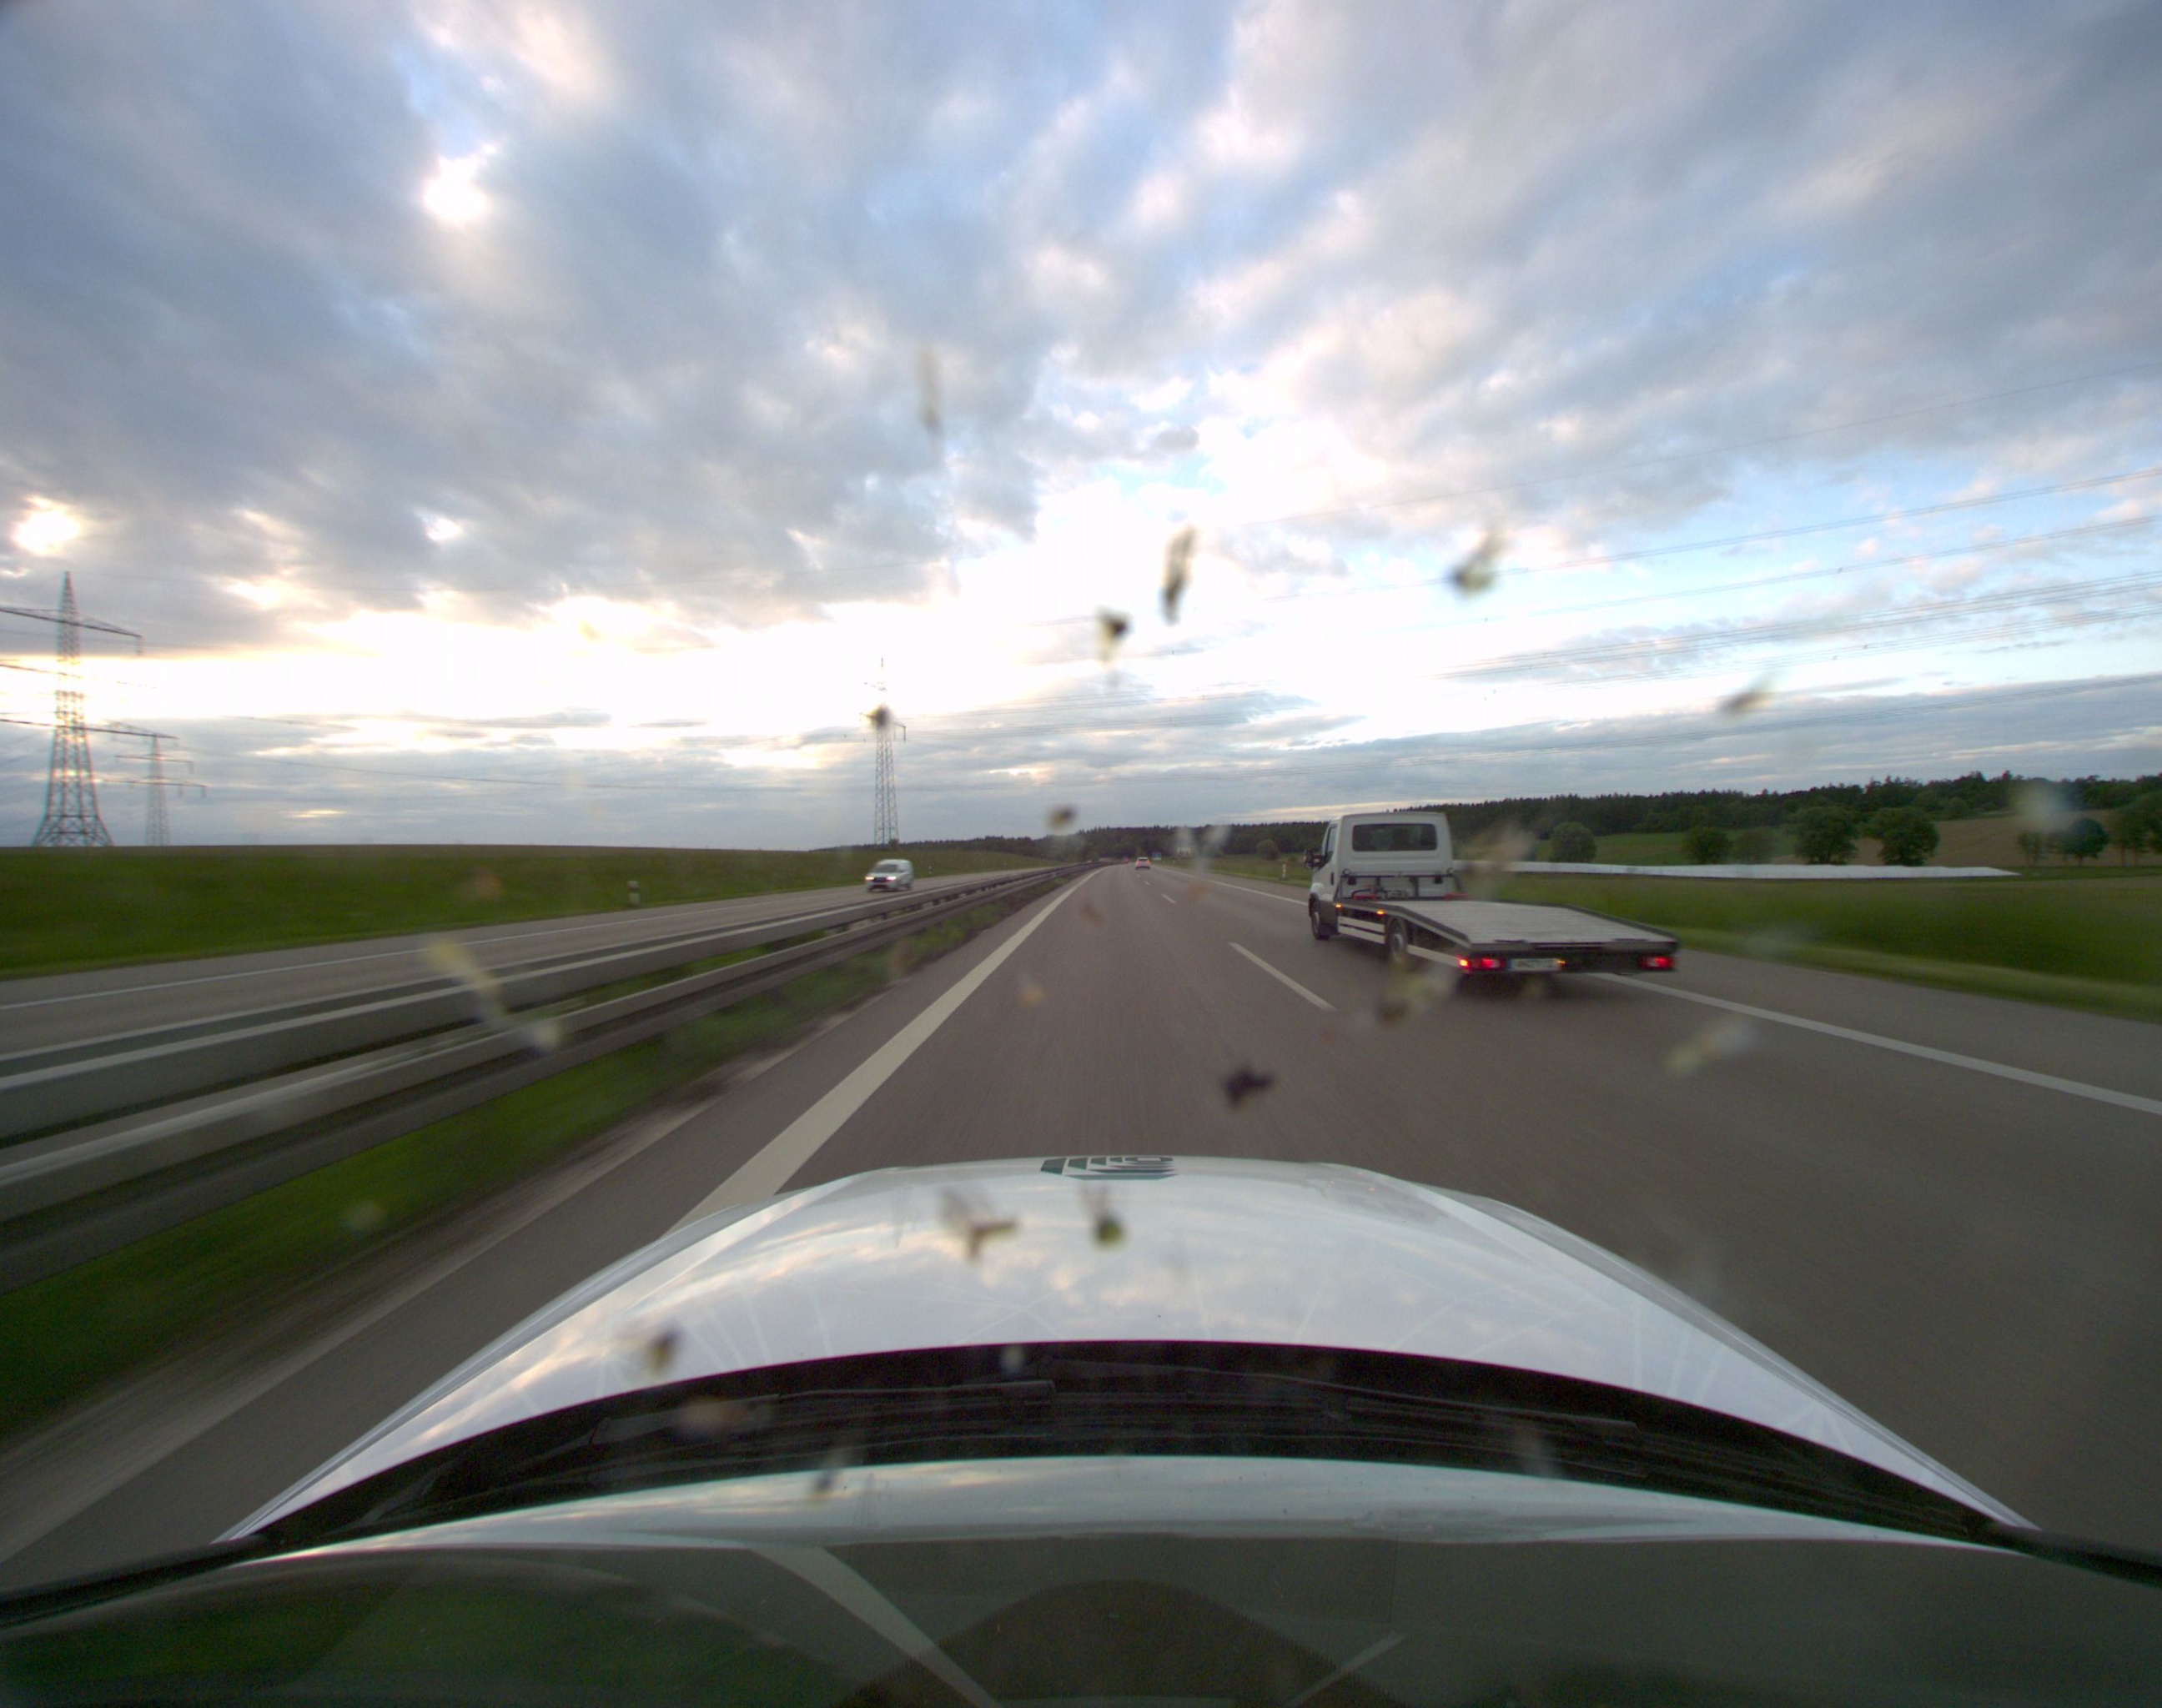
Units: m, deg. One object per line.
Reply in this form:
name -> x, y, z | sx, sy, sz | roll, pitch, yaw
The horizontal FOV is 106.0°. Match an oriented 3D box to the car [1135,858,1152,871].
car -> 7.855, 1.304, 102.851 | 1.944, 1.531, 4.082 | 0, 0, 2

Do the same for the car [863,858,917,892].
car -> -10.971, 1.182, 47.244 | 1.754, 1.802, 4.996 | -2, 0, 2

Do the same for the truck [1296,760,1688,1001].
truck -> 5.045, 0.270, 11.861 | 2.163, 2.360, 7.701 | 0, 0, 3
